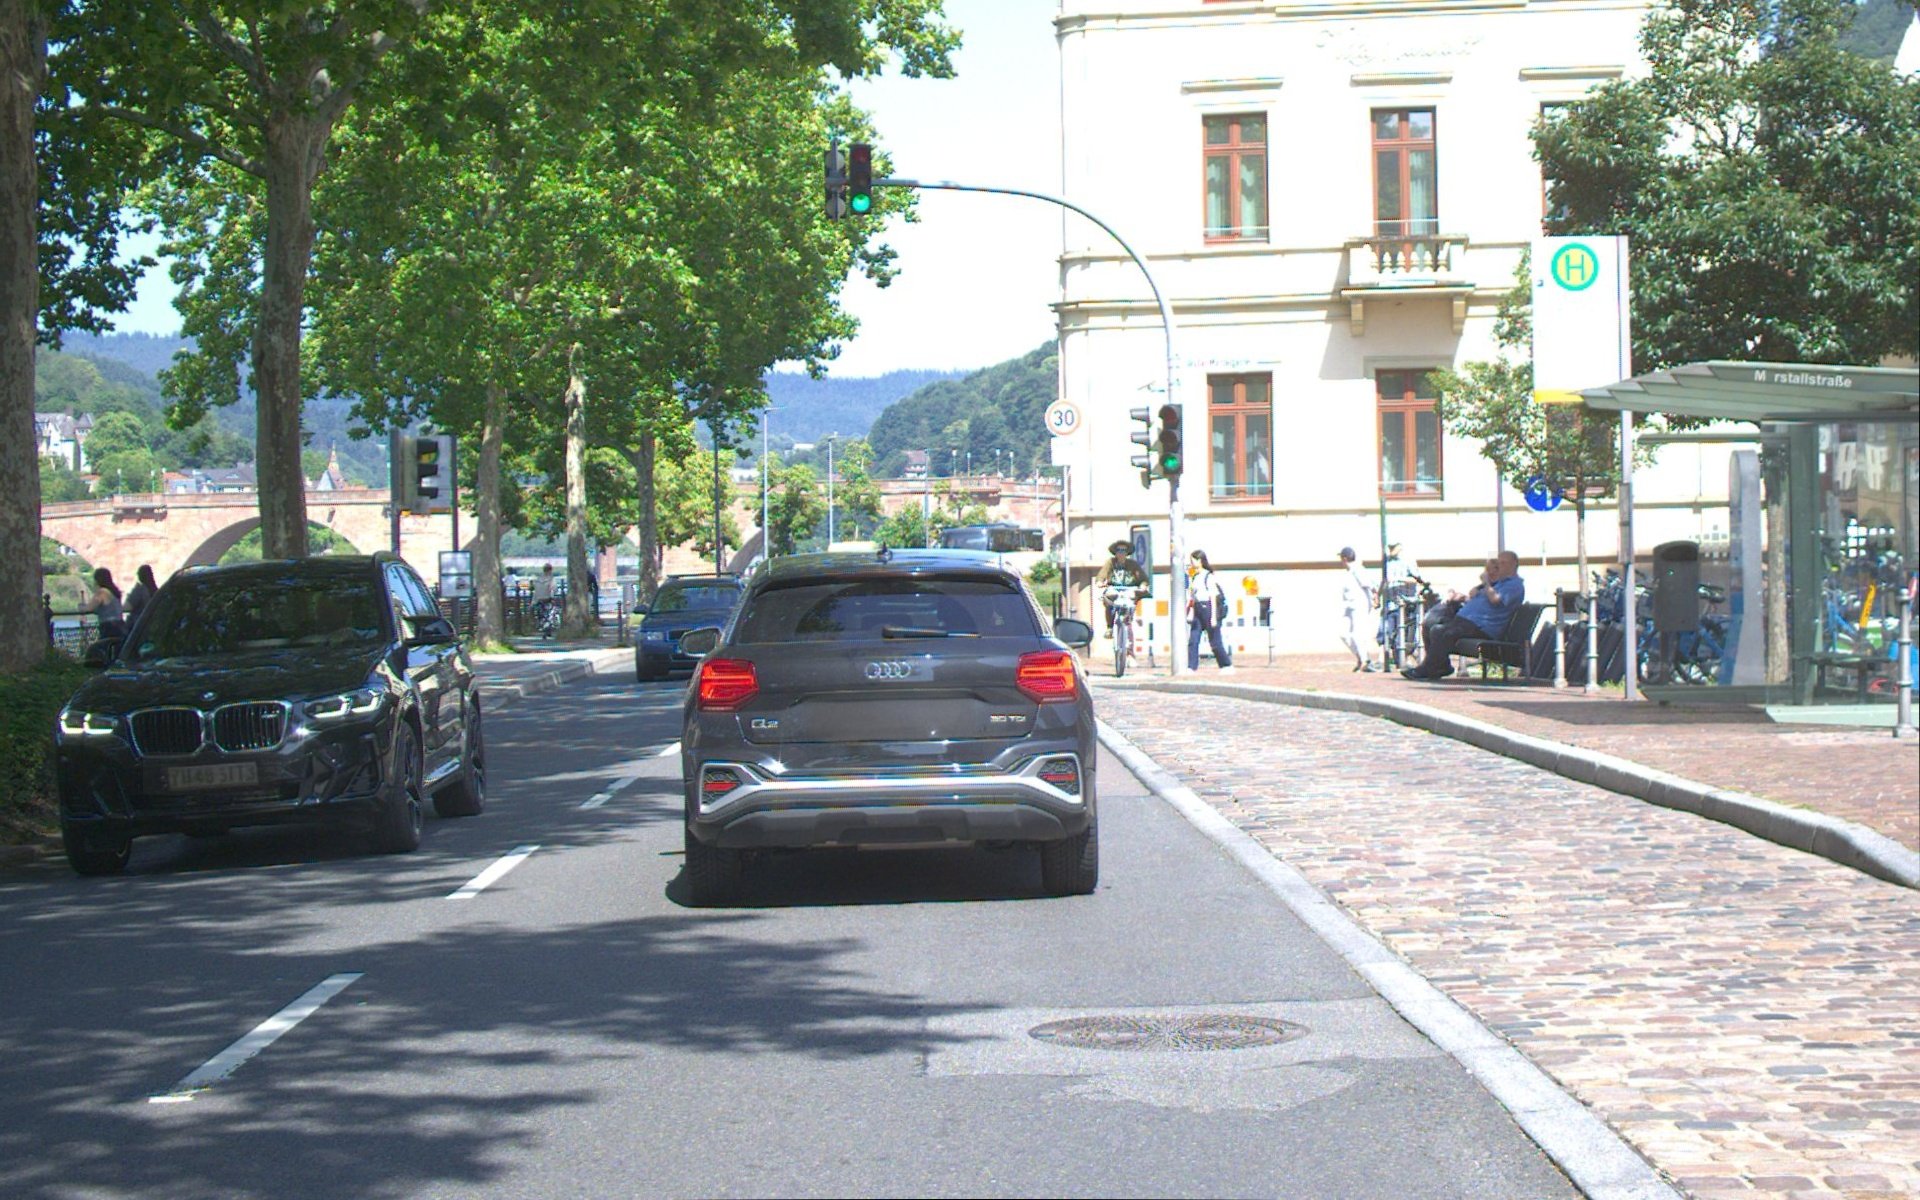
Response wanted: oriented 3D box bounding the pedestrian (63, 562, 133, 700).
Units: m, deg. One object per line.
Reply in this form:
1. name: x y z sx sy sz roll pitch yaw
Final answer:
1. pedestrian: -10.249 0.366 40.911 0.625 1.613 0.585 1 0 4

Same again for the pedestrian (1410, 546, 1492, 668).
1. pedestrian: 4.994 0.070 34.996 0.663 1.227 0.641 1 0 -6

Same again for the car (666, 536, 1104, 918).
1. car: -0.316 0.484 15.822 1.743 1.504 3.647 -2 1 0

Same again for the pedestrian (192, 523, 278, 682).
1. pedestrian: -9.264 0.032 43.960 0.911 2.007 0.585 1 0 4

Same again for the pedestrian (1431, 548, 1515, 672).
1. pedestrian: 5.098 0.099 34.168 0.663 1.207 0.641 1 0 -6

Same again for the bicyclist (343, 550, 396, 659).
1. bicyclist: -7.190 0.058 41.869 0.566 1.307 0.552 1 0 -4

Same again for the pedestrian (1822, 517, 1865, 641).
1. pedestrian: 12.051 -0.289 46.895 0.449 1.675 0.466 1 0 3

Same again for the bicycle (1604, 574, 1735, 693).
1. bicycle: 6.851 0.326 33.196 1.303 1.124 0.179 1 0 -18

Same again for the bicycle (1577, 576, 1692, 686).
1. bicycle: 6.650 0.307 33.897 1.157 1.066 0.179 1 0 -18

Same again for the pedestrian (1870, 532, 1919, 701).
1. pedestrian: 7.861 0.137 28.333 0.557 1.380 0.588 1 0 2

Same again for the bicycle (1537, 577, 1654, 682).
1. bicycle: 6.401 0.296 34.633 1.201 1.031 0.179 1 0 -18

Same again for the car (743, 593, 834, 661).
1. car: -4.293 0.662 86.560 1.993 1.620 4.000 1 0 1

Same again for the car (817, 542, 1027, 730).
1. car: -0.339 0.288 31.658 1.793 1.589 3.399 1 1 0

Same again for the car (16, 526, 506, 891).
1. car: -3.925 0.524 20.083 1.812 1.719 4.422 -6 1 0

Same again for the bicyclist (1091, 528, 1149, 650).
1. bicyclist: 1.931 -0.132 41.603 0.605 1.445 0.591 1 0 -5

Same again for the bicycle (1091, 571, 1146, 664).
1. bicycle: 1.912 0.204 41.573 0.437 1.082 1.677 1 0 -4

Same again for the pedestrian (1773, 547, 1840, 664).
1. pedestrian: 14.735 0.088 59.859 0.944 2.007 0.807 1 0 0

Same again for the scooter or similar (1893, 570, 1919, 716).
1. scooter or similar: 7.438 0.322 25.204 1.088 1.062 0.323 1 0 -2

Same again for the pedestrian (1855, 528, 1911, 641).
1. pedestrian: 12.579 -0.215 46.878 0.622 1.526 0.466 1 0 3

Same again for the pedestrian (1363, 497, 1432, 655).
1. pedestrian: 5.602 -0.307 43.998 0.640 2.007 0.664 1 0 29

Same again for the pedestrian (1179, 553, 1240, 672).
1. pedestrian: 3.168 0.158 43.686 0.693 1.495 0.514 1 0 -3

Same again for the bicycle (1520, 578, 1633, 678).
1. bicycle: 6.335 0.289 35.324 1.184 1.012 0.179 1 0 -18

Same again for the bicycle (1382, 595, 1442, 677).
1. bicycle: 5.455 0.432 41.491 0.298 0.960 1.188 1 0 -13

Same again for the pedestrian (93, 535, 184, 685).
1. pedestrian: -10.047 0.119 42.053 0.911 1.805 0.585 1 0 4

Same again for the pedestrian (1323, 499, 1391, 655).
1. pedestrian: 5.175 -0.303 44.823 0.640 2.007 0.664 1 0 29
